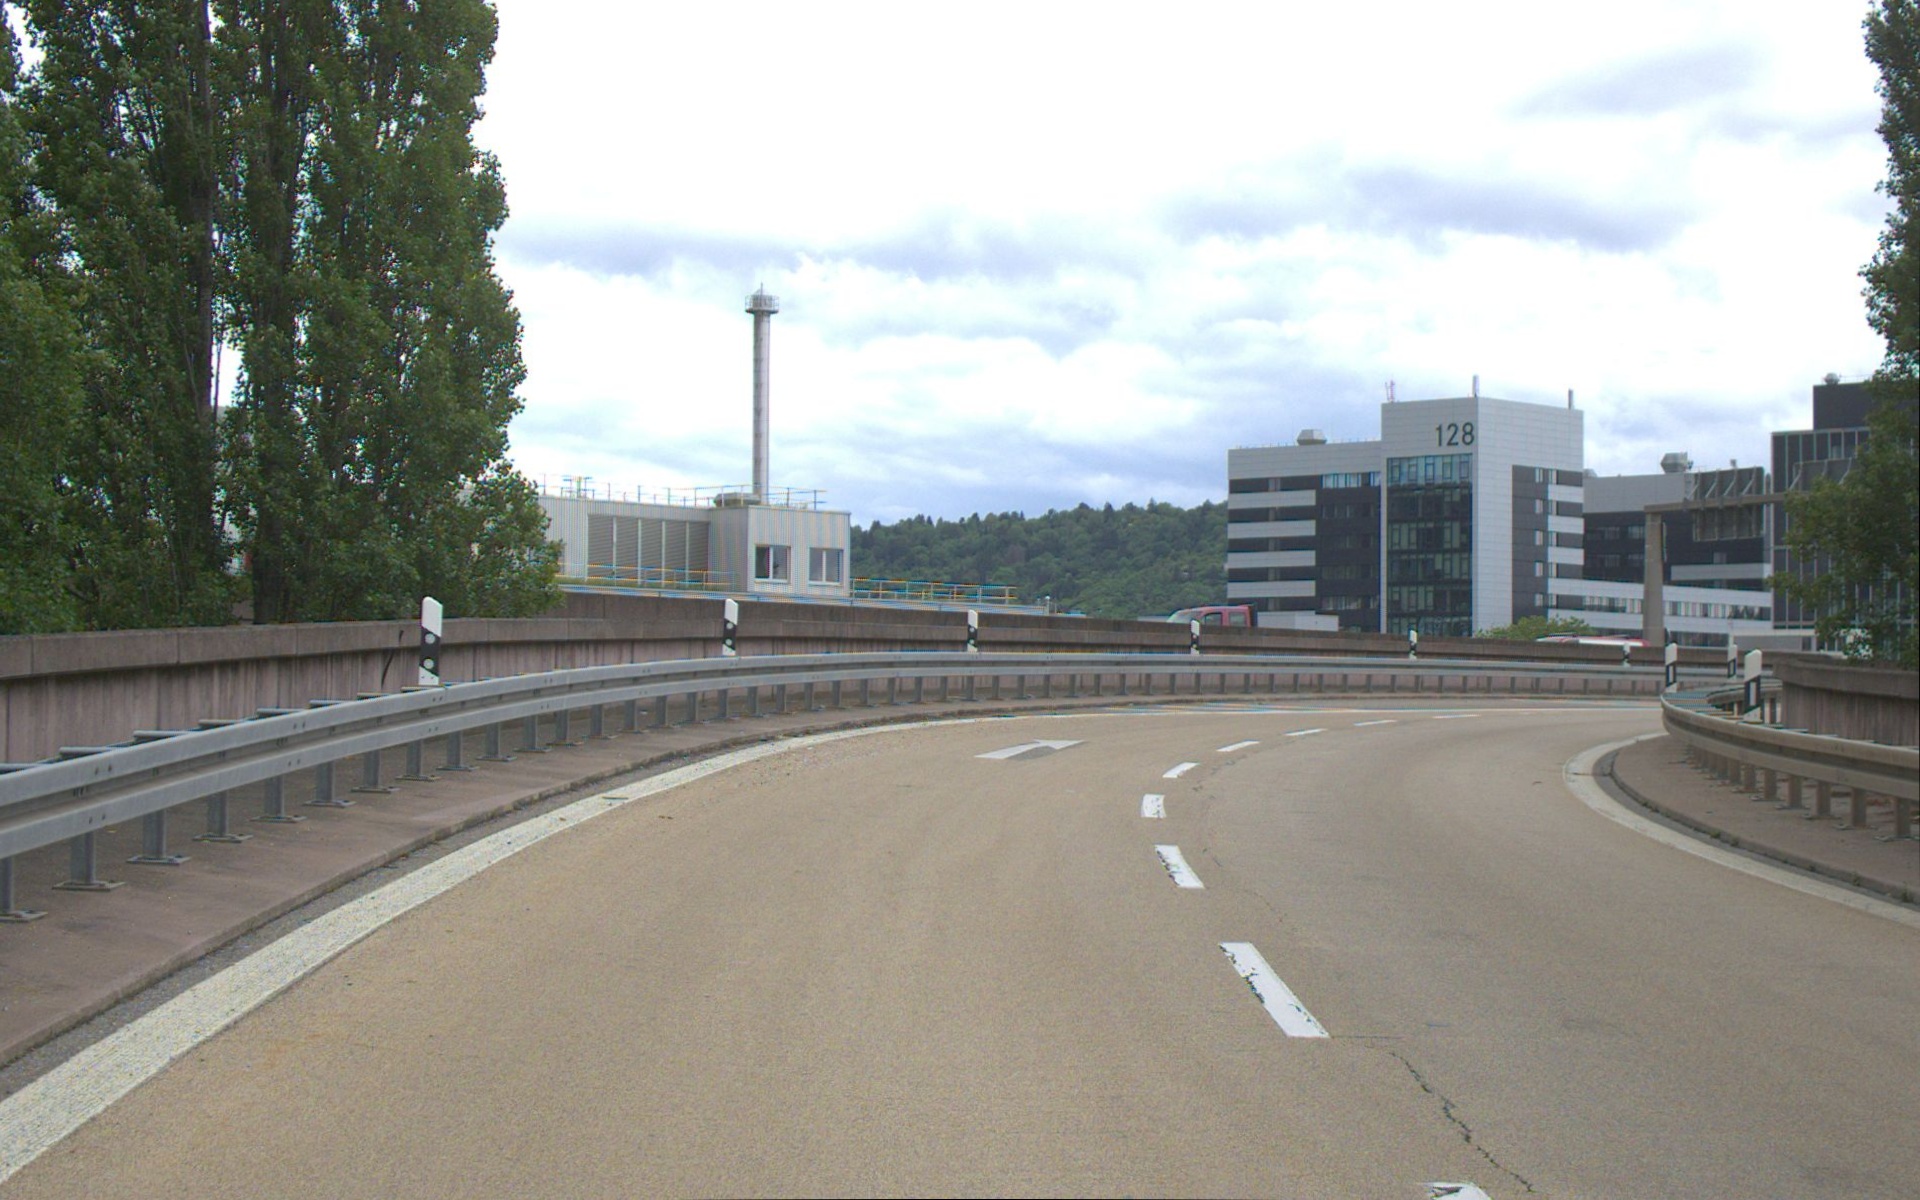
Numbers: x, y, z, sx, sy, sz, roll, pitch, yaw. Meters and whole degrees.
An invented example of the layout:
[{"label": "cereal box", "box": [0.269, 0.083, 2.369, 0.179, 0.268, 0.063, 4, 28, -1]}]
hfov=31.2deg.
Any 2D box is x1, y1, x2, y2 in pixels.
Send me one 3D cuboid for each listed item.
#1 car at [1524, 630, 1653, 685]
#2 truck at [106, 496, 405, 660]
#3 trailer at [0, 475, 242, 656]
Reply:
[{"label": "car", "box": [19.845, 1.821, 108.610, 3.637, 1.513, 1.689, 2, 2, -26]}, {"label": "truck", "box": [-15.812, -0.439, 77.217, 5.944, 3.419, 2.778, 2, -2, -29]}, {"label": "trailer", "box": [-21.378, -0.796, 74.152, 11.116, 3.725, 2.801, 2, -2, -29]}]
